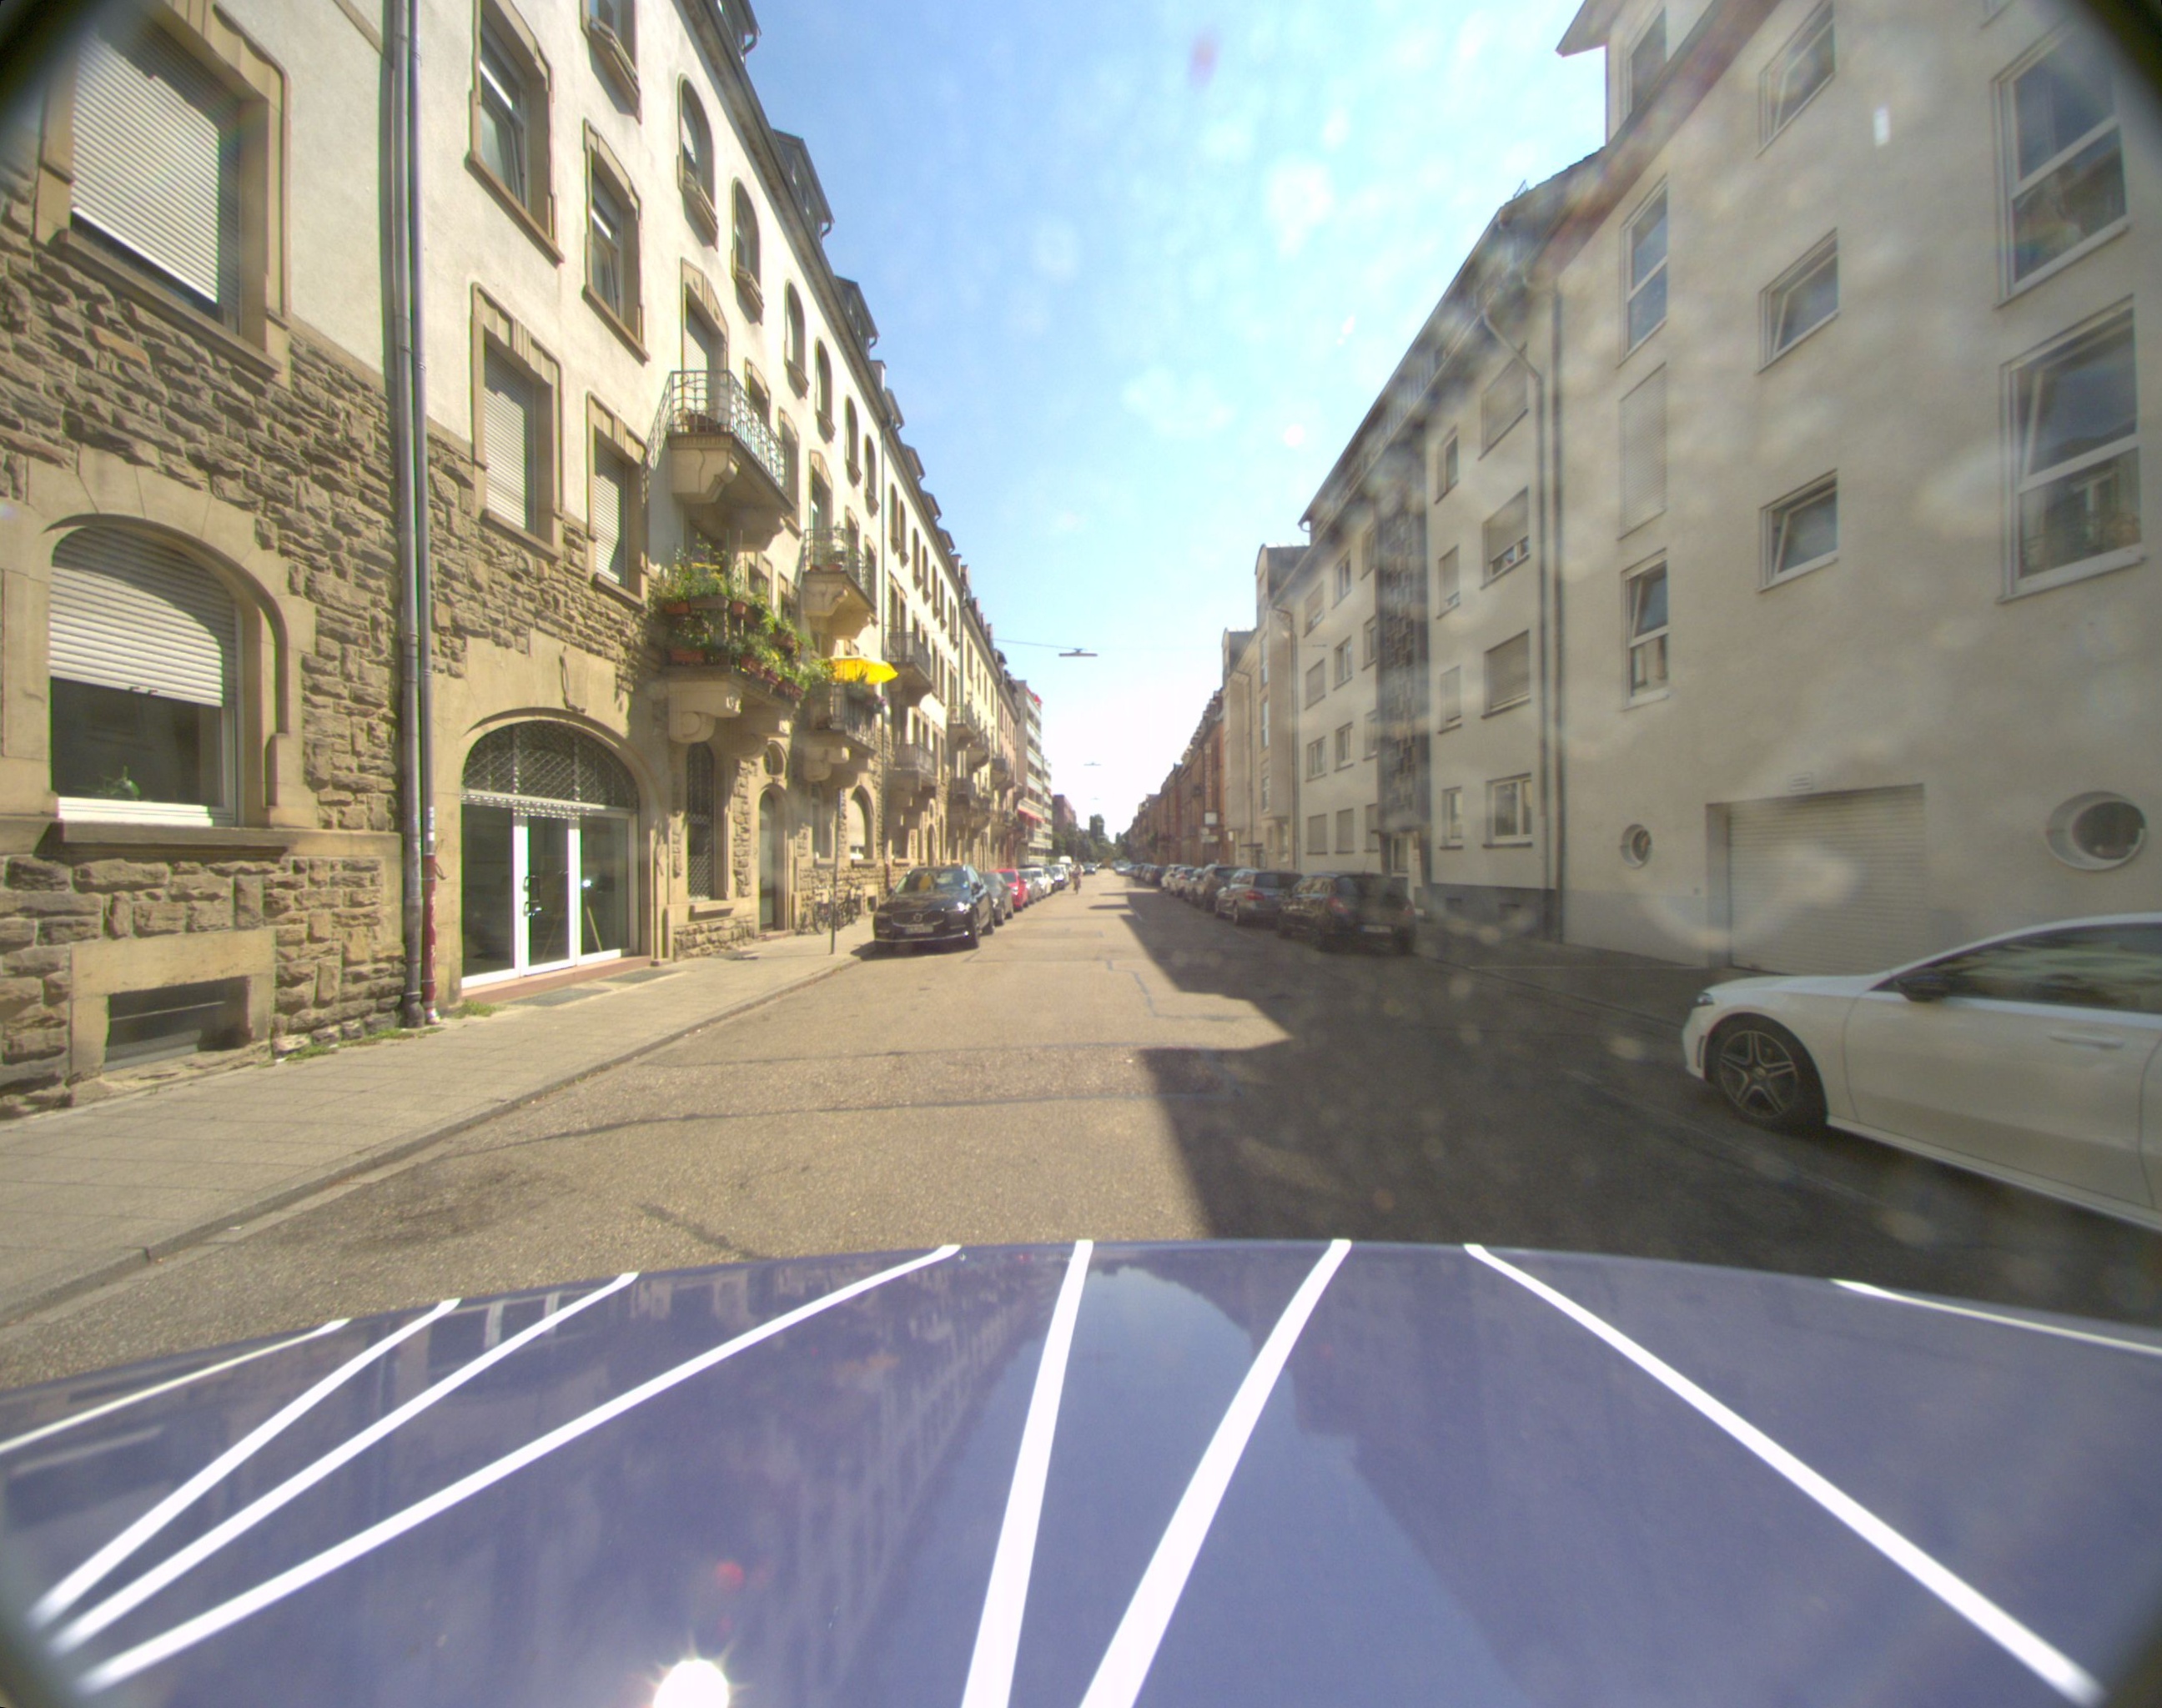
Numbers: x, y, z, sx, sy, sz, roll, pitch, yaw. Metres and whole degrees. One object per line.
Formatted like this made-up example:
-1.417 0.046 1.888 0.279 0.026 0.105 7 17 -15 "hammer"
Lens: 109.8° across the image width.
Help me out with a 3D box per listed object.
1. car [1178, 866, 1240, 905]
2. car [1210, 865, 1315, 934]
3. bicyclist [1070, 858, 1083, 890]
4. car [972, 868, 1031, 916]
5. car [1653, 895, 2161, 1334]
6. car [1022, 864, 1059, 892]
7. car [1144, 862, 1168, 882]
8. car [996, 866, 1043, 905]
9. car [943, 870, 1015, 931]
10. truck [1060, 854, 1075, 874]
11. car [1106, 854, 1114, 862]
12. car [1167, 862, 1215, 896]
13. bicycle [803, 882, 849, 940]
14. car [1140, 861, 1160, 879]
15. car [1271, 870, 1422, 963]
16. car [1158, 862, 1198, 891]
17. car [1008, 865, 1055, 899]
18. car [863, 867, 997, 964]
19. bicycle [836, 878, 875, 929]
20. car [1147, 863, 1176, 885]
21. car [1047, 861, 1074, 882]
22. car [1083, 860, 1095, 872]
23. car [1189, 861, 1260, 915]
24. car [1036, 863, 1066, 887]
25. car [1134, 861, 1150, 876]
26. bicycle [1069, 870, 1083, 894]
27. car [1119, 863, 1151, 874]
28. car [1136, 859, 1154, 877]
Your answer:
5.155 1.227 31.070 1.769 1.385 4.348 2 0 0 "car"
4.680 1.106 20.312 1.660 1.510 4.671 2 0 0 "car"
-0.230 1.057 40.204 0.645 1.640 0.622 0 1 2 "bicyclist"
-2.773 1.294 27.084 1.574 1.444 3.843 -3 0 1 "car"
4.795 1.026 2.967 1.781 1.451 4.278 2 0 -2 "car"
-2.248 1.306 43.265 1.741 1.449 4.668 0 0 1 "car"
6.015 1.397 60.871 1.632 1.421 3.679 4 0 3 "car"
-2.573 1.297 32.538 1.593 1.444 3.856 -3 0 1 "car"
-2.757 1.223 21.258 1.516 1.390 3.972 -3 0 -1 "car"
-1.872 1.356 106.243 1.869 2.715 4.508 0 0 1 "truck"
7.446 1.121 195.693 1.784 2.002 4.001 -1 0 4 "car"
5.412 1.187 37.845 1.735 1.486 4.348 2 0 0 "car"
-5.835 1.280 17.454 0.385 1.201 1.775 0 0 2 "bicycle"
6.339 1.439 70.083 1.450 1.464 3.525 4 0 -1 "car"
5.047 1.115 14.998 1.571 1.483 3.894 2 0 0 "car"
5.700 1.289 44.862 1.633 1.540 3.852 4 0 -2 "car"
-2.407 1.323 37.725 1.720 1.444 4.598 -3 0 3 "car"
-2.911 1.122 15.702 1.838 1.557 4.604 -3 0 -1 "car"
-5.863 1.268 19.820 0.442 1.201 1.775 0 0 2 "bicycle"
5.839 1.434 55.533 1.781 1.421 3.837 4 0 3 "car"
-1.613 1.347 59.901 1.651 1.612 4.093 0 0 5 "car"
1.066 1.695 105.593 1.624 1.600 3.597 0 0 1 "car"
4.785 1.085 25.809 1.608 1.634 3.977 2 0 0 "car"
-1.915 1.321 49.221 1.828 1.423 4.489 -1 0 -1 "car"
6.462 1.524 81.219 1.450 1.391 3.526 4 0 2 "car"
-0.235 1.456 40.156 0.671 1.169 2.094 0 0 2 "bicycle"
6.958 1.889 97.890 3.996 1.422 1.678 0 0 2 "car"
6.445 1.397 76.282 1.450 1.633 3.526 4 0 0 "car"
